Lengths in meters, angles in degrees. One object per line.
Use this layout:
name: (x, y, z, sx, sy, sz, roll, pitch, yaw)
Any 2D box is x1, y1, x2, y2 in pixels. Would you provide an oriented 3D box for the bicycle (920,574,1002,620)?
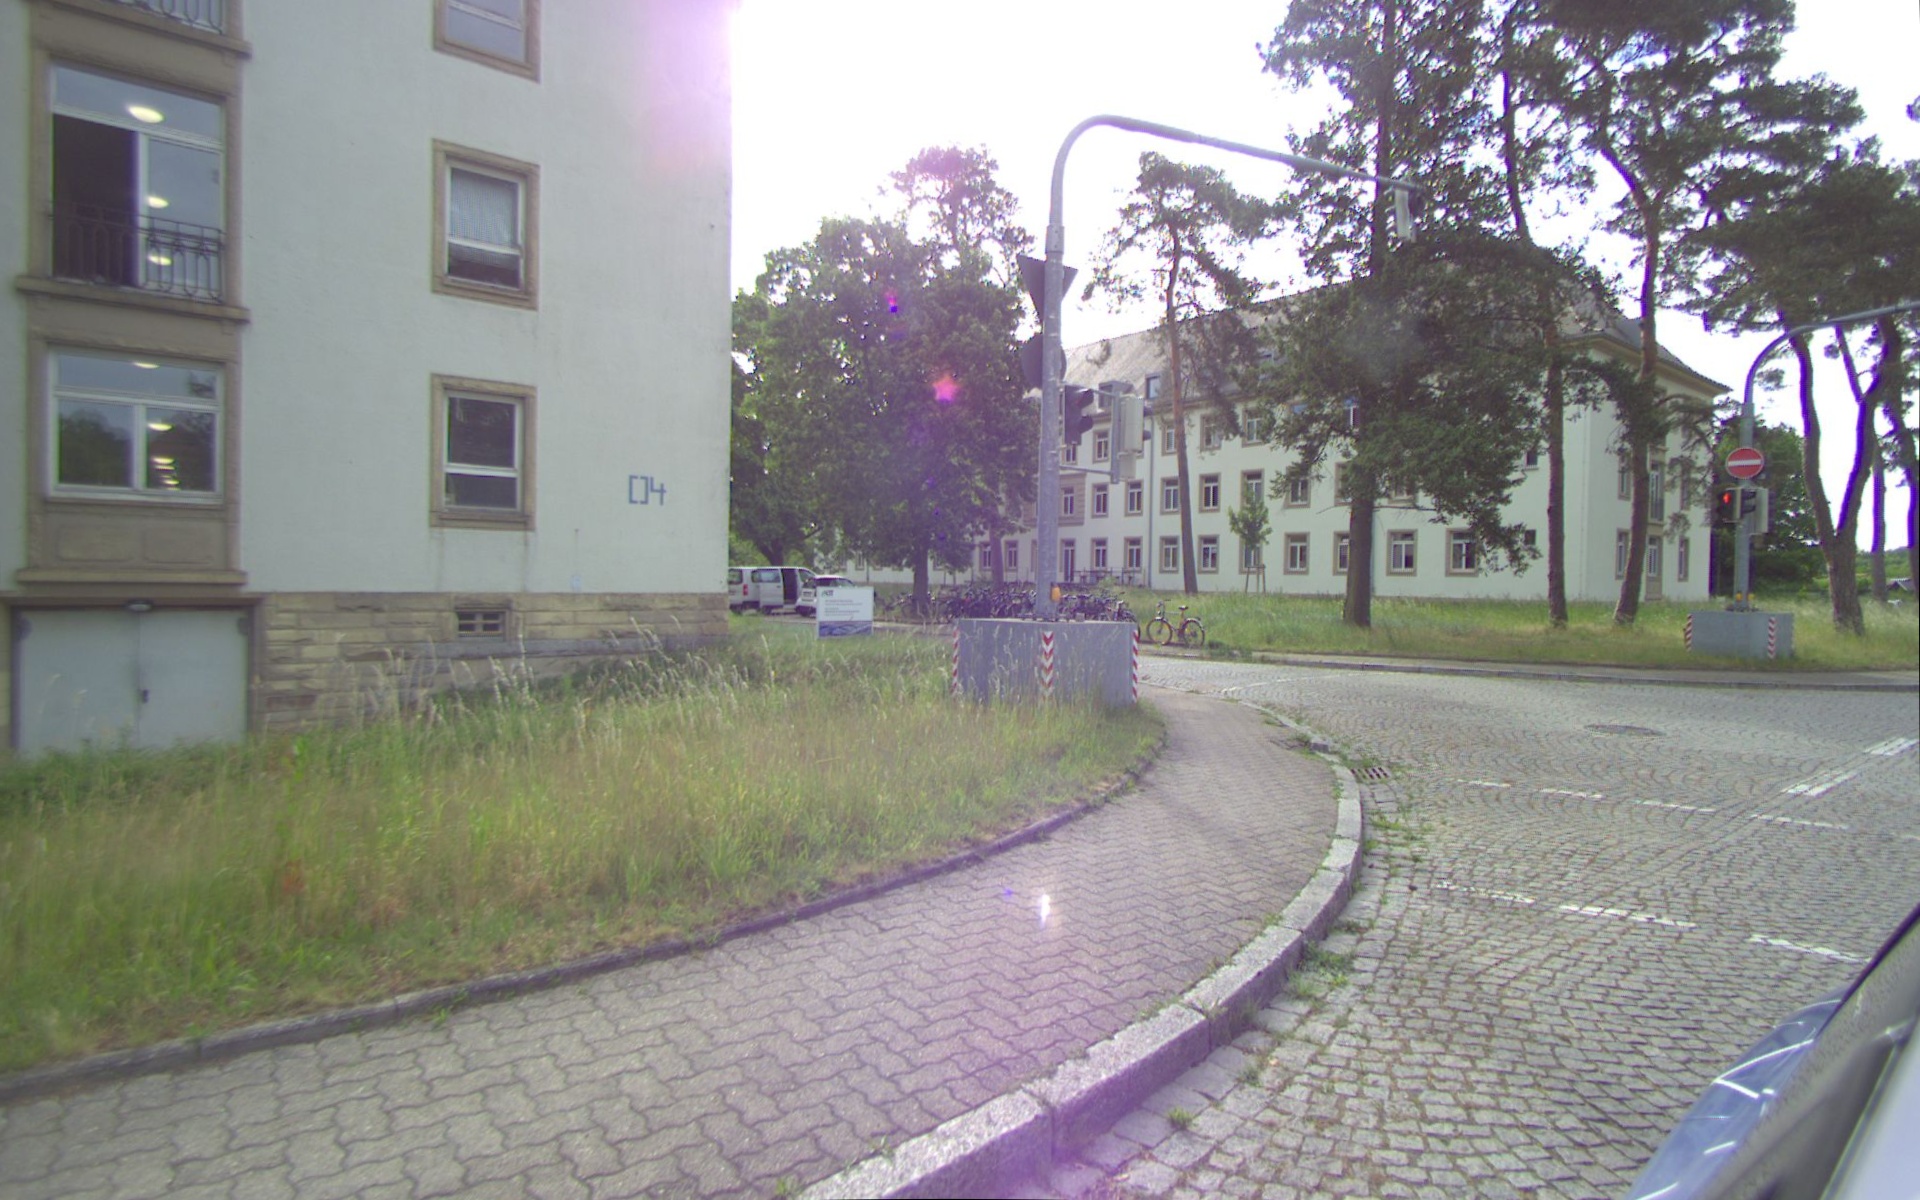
bicycle: (0.052, -0.100, 31.642, 2.530, 1.389, 0.950, 0, 1, -39)

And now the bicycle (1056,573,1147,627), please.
bicycle: (3.806, -0.013, 27.132, 2.580, 1.384, 0.874, 0, 1, -39)

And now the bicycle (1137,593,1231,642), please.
bicycle: (5.083, 0.372, 23.070, 0.887, 1.009, 1.977, 0, 1, -39)

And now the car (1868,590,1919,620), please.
car: (51.558, 0.262, 55.643, 3.625, 1.552, 1.773, 0, 1, -37)

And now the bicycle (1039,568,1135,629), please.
bicycle: (3.542, -0.053, 28.030, 2.761, 1.603, 0.950, 0, 1, -39)

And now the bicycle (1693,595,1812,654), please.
bicycle: (16.214, 0.483, 20.752, 0.635, 1.075, 1.831, -5, 4, -40)

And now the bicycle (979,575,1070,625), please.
bicycle: (1.920, -0.010, 29.755, 2.761, 1.389, 0.950, 0, 1, -39)

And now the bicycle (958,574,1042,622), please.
bicycle: (1.217, -0.062, 30.425, 2.530, 1.389, 0.950, 0, 1, -39)

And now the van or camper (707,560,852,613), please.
van or camper: (-7.174, -0.562, 40.718, 2.227, 1.982, 5.678, 2, 1, 39)

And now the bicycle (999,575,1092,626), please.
bicycle: (2.490, 0.009, 29.067, 2.761, 1.389, 0.950, 0, 1, -39)

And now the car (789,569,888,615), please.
car: (-4.615, -0.302, 38.565, 3.177, 1.641, 1.936, 2, 0, -39)

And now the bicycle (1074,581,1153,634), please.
bicycle: (4.030, 0.174, 26.535, 2.081, 1.323, 0.874, 0, 1, -39)

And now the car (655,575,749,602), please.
car: (-12.033, -0.545, 47.354, 3.930, 1.214, 1.701, 0, 2, -41)

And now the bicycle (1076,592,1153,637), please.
bicycle: (3.744, 0.328, 24.676, 0.715, 1.009, 1.980, 0, 1, -33)

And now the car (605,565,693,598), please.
car: (-15.819, -0.918, 51.522, 3.930, 1.620, 1.701, 0, 1, -41)

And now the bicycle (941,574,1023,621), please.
bicycle: (0.692, -0.080, 31.080, 2.530, 1.389, 0.950, 0, 1, -39)

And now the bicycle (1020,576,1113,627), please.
bicycle: (3.070, 0.026, 28.845, 2.761, 1.389, 0.950, 0, 1, -39)
